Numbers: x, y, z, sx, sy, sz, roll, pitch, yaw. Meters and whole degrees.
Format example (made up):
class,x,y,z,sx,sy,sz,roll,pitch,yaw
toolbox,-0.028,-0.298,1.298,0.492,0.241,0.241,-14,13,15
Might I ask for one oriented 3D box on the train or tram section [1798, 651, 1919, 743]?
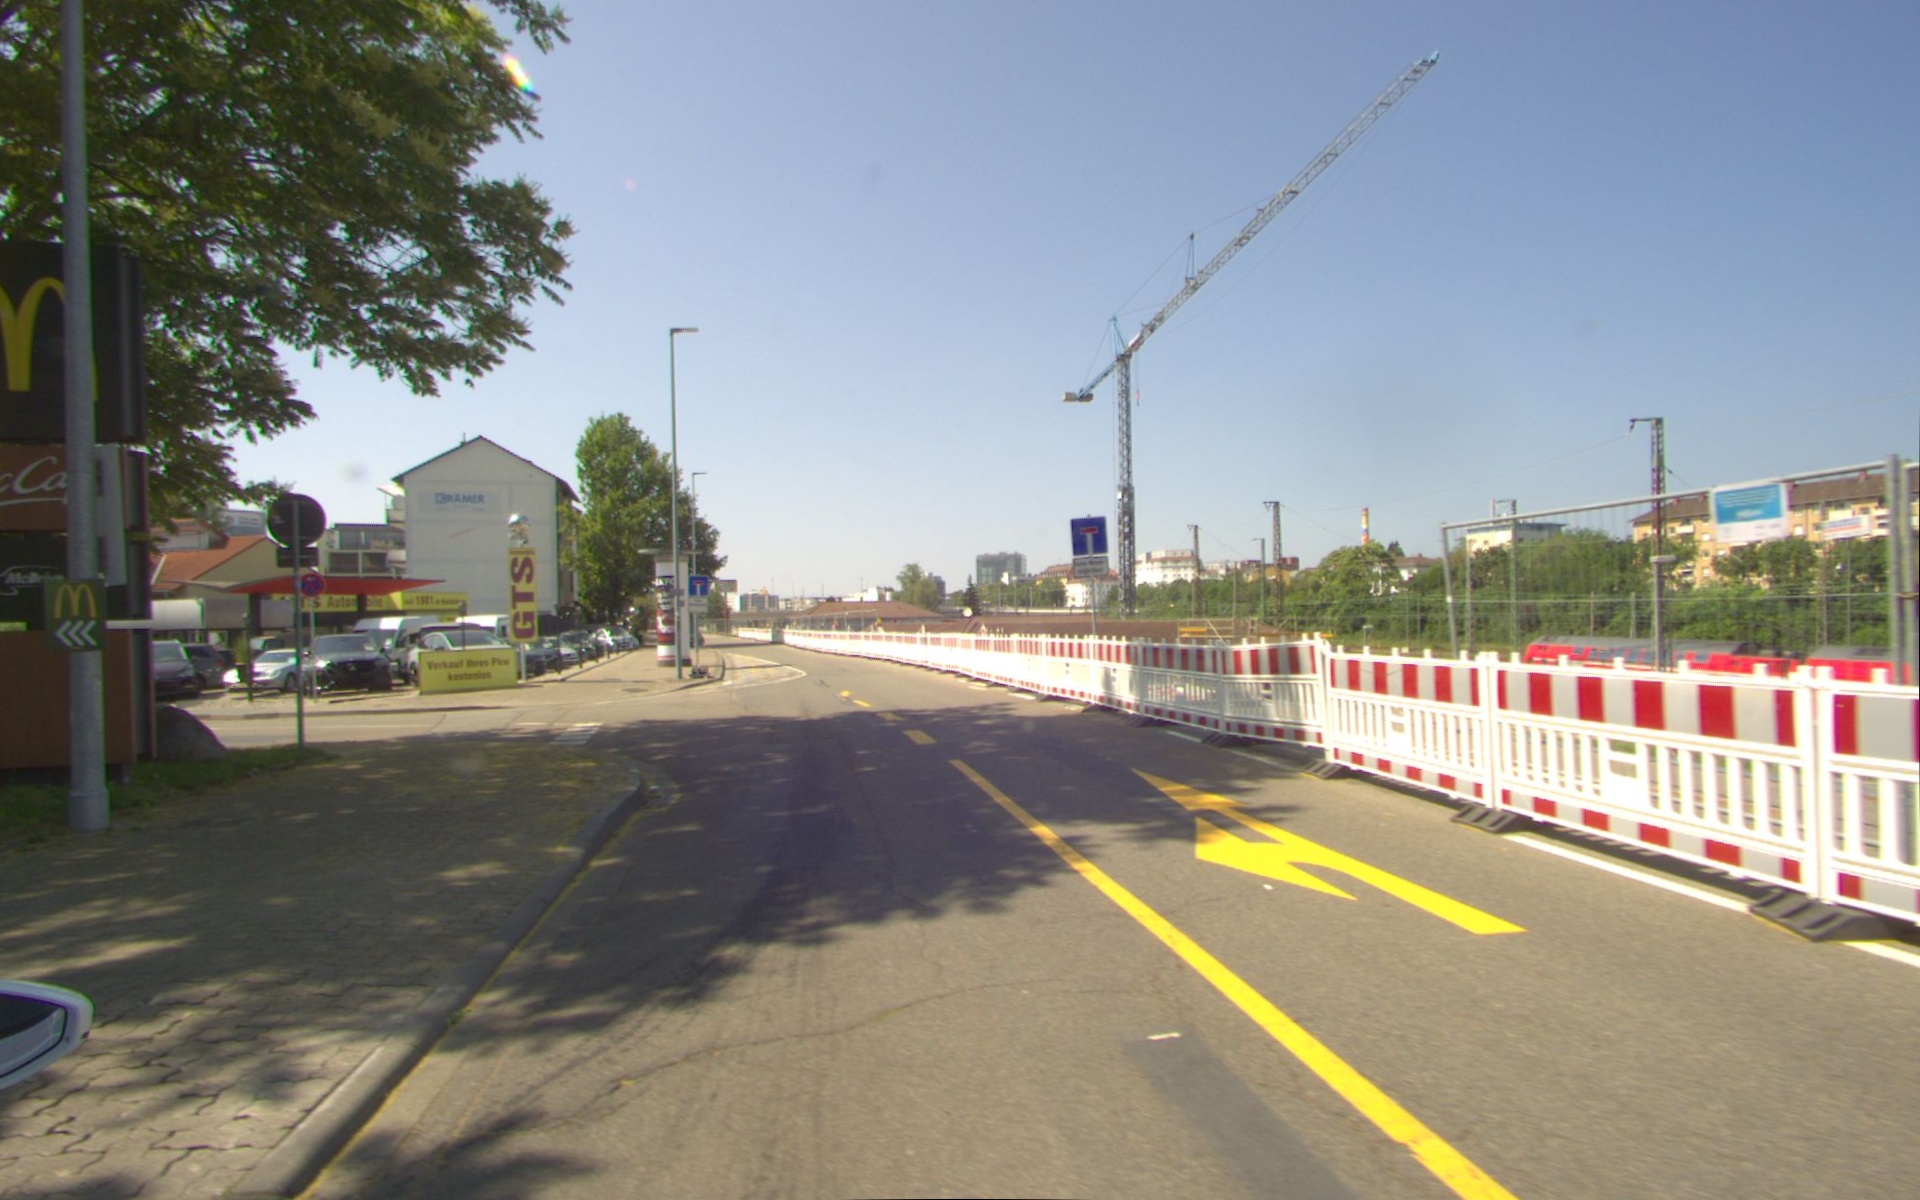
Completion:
class,x,y,z,sx,sy,sz,roll,pitch,yaw
train or tram section,41.285,4.151,43.077,2.965,3.750,8.978,1,-2,0

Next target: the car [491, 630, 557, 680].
class,x,y,z,sx,sy,sz,roll,pitch,yaw
car,-15.515,1.917,35.538,1.835,1.650,3.983,0,-2,-28

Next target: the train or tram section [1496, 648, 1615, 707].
class,x,y,z,sx,sy,sz,roll,pitch,yaw
train or tram section,41.374,5.266,70.010,2.965,3.750,8.978,1,-2,0

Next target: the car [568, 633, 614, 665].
class,x,y,z,sx,sy,sz,roll,pitch,yaw
car,-20.224,2.657,54.808,1.835,1.650,3.983,0,-2,-28

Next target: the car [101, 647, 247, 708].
class,x,y,z,sx,sy,sz,roll,pitch,yaw
car,-21.963,2.112,28.193,1.761,1.529,3.997,0,-2,-14

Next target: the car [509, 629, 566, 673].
class,x,y,z,sx,sy,sz,roll,pitch,yaw
car,-17.324,2.049,40.964,1.835,1.650,3.983,0,-2,-28

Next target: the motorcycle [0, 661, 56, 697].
class,x,y,z,sx,sy,sz,roll,pitch,yaw
motorcycle,-34.513,2.855,36.226,0.980,1.242,2.719,-1,-2,8

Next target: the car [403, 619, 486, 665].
class,x,y,z,sx,sy,sz,roll,pitch,yaw
car,-20.940,1.690,40.882,1.848,1.760,4.719,0,-2,-12

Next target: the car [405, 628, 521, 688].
class,x,y,z,sx,sy,sz,roll,pitch,yaw
car,-15.475,1.796,31.097,3.959,1.747,1.983,-4,-3,43

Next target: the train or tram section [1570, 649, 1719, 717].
class,x,y,z,sx,sy,sz,roll,pitch,yaw
train or tram section,41.372,4.905,61.028,2.965,3.750,8.978,1,-2,0

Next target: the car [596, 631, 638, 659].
class,x,y,z,sx,sy,sz,roll,pitch,yaw
car,-21.562,2.828,62.864,1.835,1.650,3.983,0,-2,-28

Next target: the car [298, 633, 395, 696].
class,x,y,z,sx,sy,sz,roll,pitch,yaw
car,-17.493,1.797,28.452,2.028,1.614,4.394,1,-3,-36

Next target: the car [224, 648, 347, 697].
class,x,y,z,sx,sy,sz,roll,pitch,yaw
car,-22.779,2.414,34.014,1.759,1.506,4.001,-1,-2,-5

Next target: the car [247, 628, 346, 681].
class,x,y,z,sx,sy,sz,roll,pitch,yaw
car,-27.297,2.237,41.398,1.963,2.039,4.493,0,-2,-13

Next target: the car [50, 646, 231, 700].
class,x,y,z,sx,sy,sz,roll,pitch,yaw
car,-26.818,2.336,32.881,1.976,1.605,4.304,-2,-3,39

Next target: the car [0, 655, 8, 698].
class,x,y,z,sx,sy,sz,roll,pitch,yaw
car,-38.155,2.888,37.500,3.929,1.605,1.998,-2,-2,18

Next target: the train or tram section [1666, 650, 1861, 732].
class,x,y,z,sx,sy,sz,roll,pitch,yaw
train or tram section,41.331,4.537,52.043,2.965,3.750,8.978,1,-2,0

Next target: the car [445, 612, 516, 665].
class,x,y,z,sx,sy,sz,roll,pitch,yaw
car,-22.296,1.782,46.766,2.104,2.314,4.706,-1,-1,-15

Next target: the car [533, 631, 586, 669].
class,x,y,z,sx,sy,sz,roll,pitch,yaw
car,-18.602,2.290,46.411,1.835,1.650,3.983,0,-2,-28

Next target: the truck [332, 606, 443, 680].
class,x,y,z,sx,sy,sz,roll,pitch,yaw
truck,-24.258,1.816,42.739,2.234,2.940,5.941,0,-2,-11
